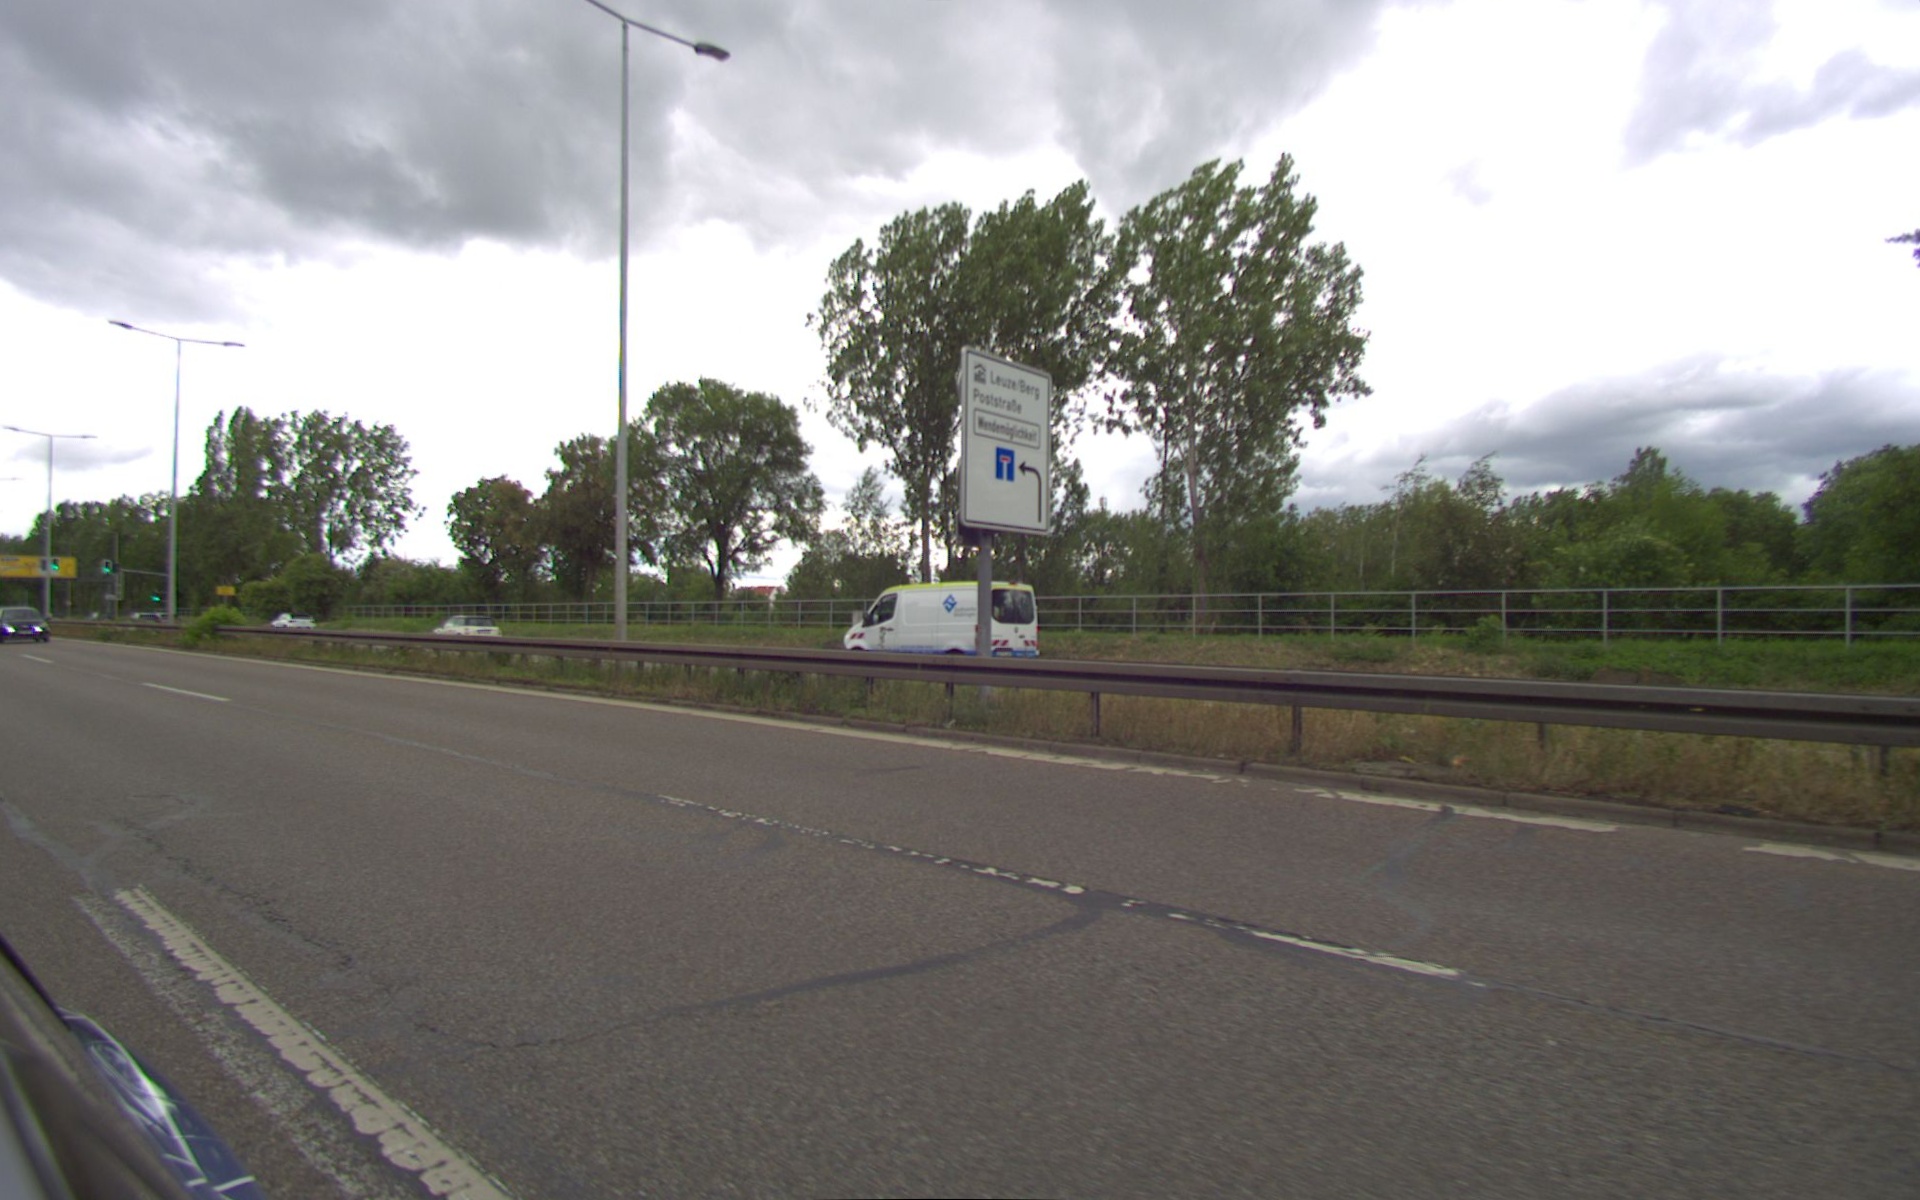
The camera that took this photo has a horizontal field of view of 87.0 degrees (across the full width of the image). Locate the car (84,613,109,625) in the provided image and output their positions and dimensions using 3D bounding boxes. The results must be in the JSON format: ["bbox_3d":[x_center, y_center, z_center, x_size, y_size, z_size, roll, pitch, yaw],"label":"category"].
[{"bbox_3d":[-96.220,2.097,112.750,4.059,1.309,1.562,-2,-1,41],"label":"car"}]

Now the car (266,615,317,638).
[{"bbox_3d":[-45.780,1.819,69.273,4.200,1.501,1.859,-2,-1,41],"label":"car"}]

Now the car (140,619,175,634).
[{"bbox_3d":[-73.007,2.437,92.048,4.784,1.309,1.643,-2,-1,40],"label":"car"}]

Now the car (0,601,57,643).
[{"bbox_3d":[-40.372,0.934,43.419,4.143,1.738,1.860,-2,-1,40],"label":"car"}]

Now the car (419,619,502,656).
[{"bbox_3d":[-20.461,1.506,41.401,3.987,1.409,1.642,-2,-1,41],"label":"car"}]

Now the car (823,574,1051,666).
[{"bbox_3d":[-0.667,0.478,24.117,5.474,1.963,2.201,-1,-2,43],"label":"car"}]

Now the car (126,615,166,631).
[{"bbox_3d":[-66.180,1.877,82.247,4.784,1.309,1.643,-2,-1,40],"label":"car"}]
